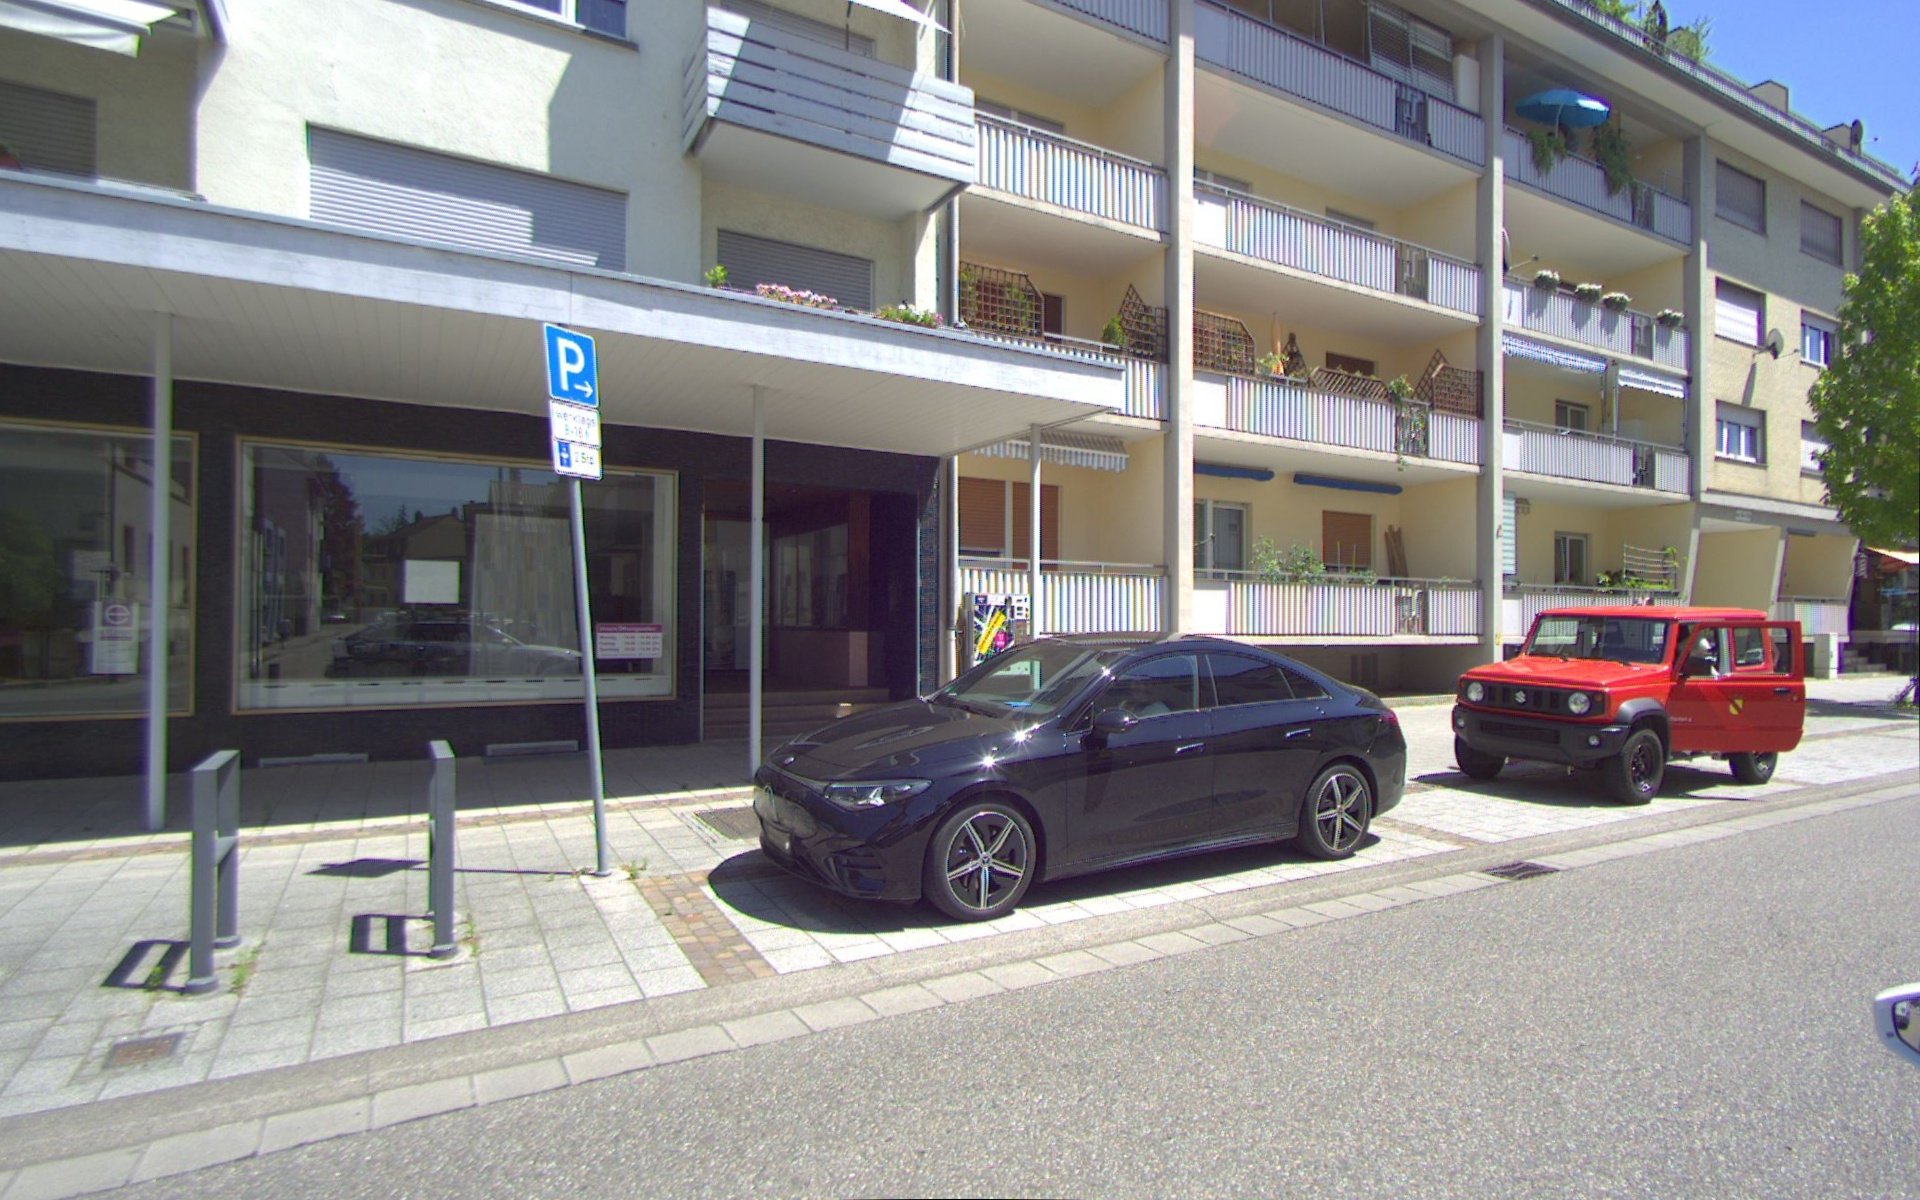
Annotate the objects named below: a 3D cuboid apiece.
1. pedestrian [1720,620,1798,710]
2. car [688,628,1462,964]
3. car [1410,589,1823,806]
[{"bbox_3d":[14.137,1.125,17.773,1.084,1.513,0.694,0,2,-30],"label":"pedestrian"},{"bbox_3d":[0.931,0.960,6.683,4.988,1.436,1.887,1,1,-30],"label":"car"},{"bbox_3d":[6.490,0.800,9.850,4.053,1.725,1.744,1,1,-30],"label":"car"}]
